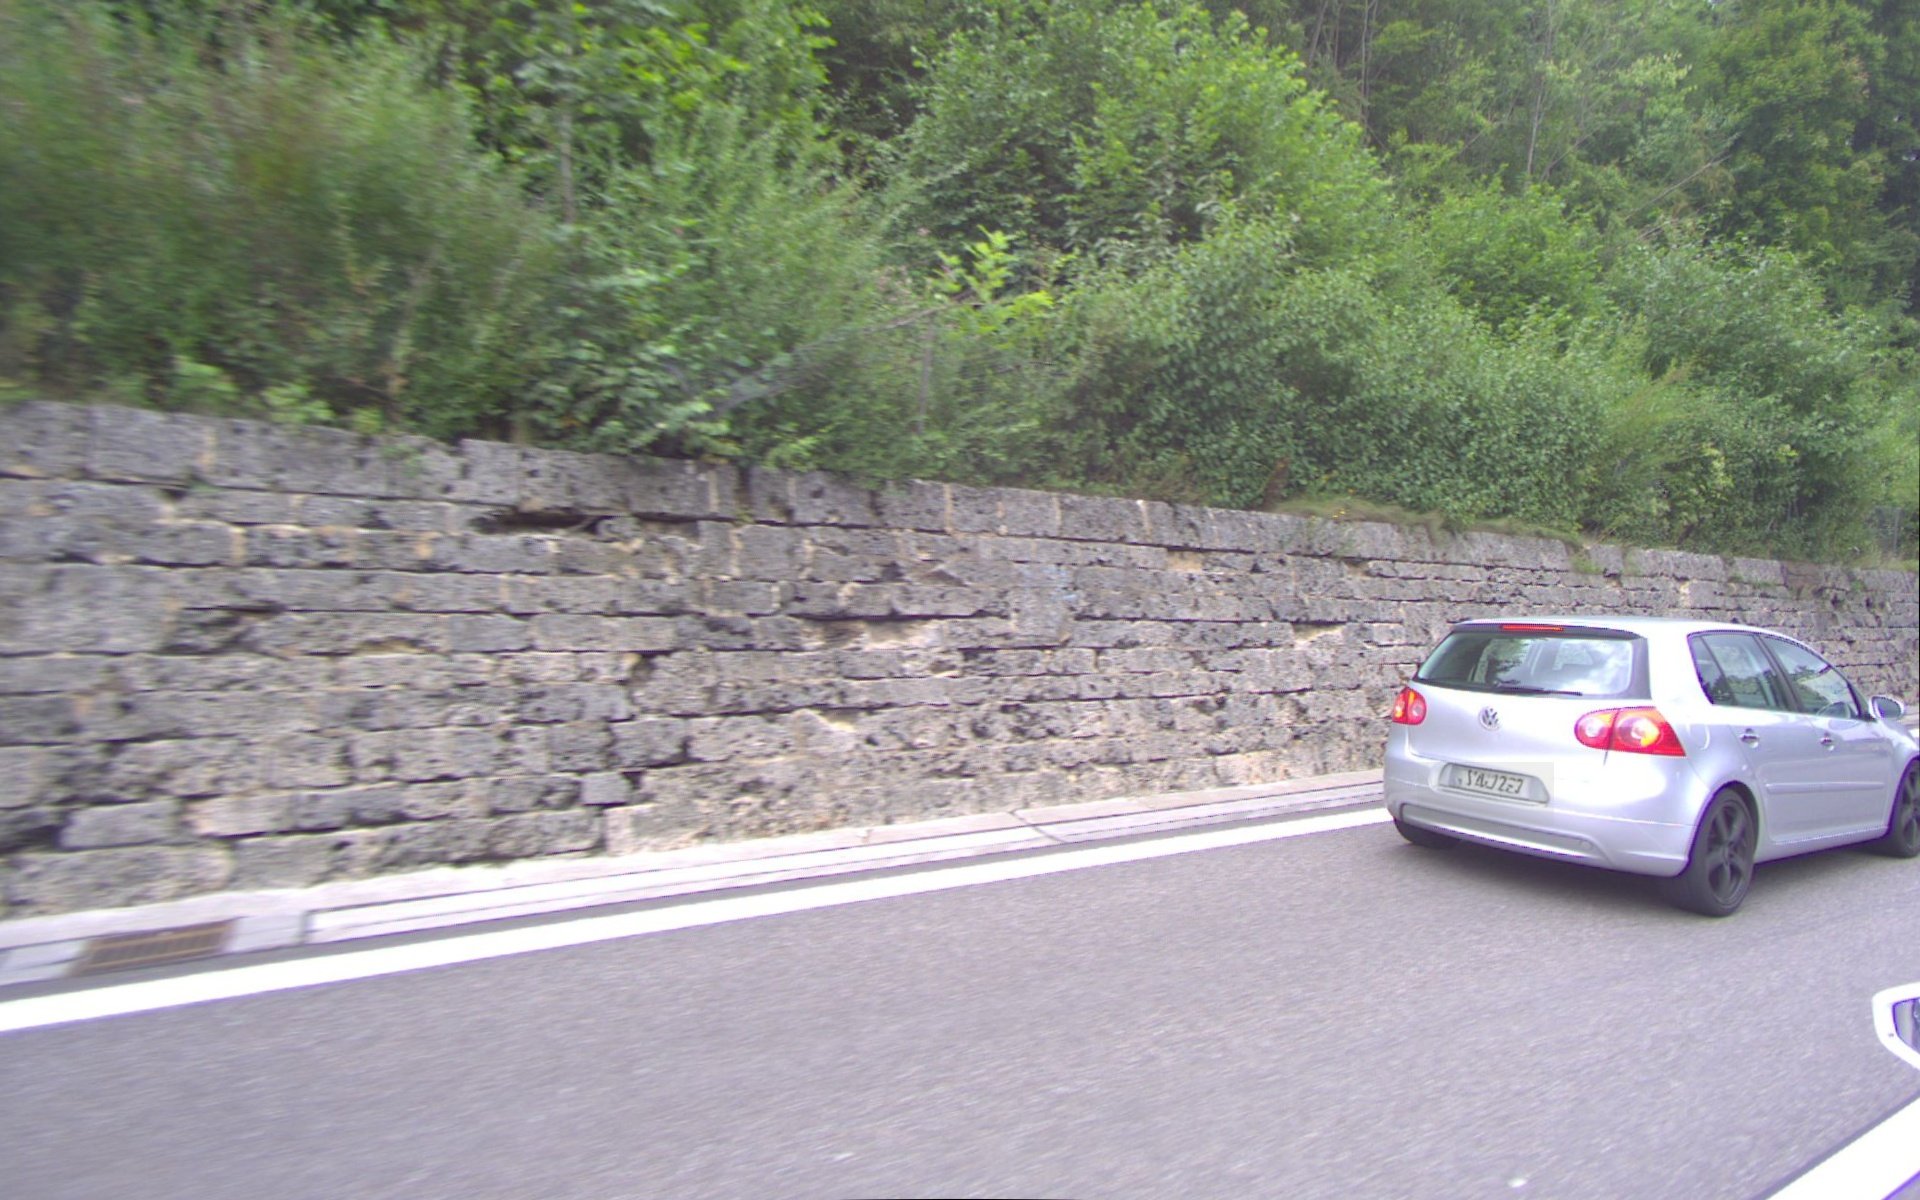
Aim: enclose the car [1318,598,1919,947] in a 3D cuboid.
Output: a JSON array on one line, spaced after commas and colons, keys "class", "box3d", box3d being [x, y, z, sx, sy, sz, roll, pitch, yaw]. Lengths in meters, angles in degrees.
[{"class": "car", "box3d": [4.485, 0.832, 6.334, 4.530, 1.535, 1.673, 2, 0, -31]}]
